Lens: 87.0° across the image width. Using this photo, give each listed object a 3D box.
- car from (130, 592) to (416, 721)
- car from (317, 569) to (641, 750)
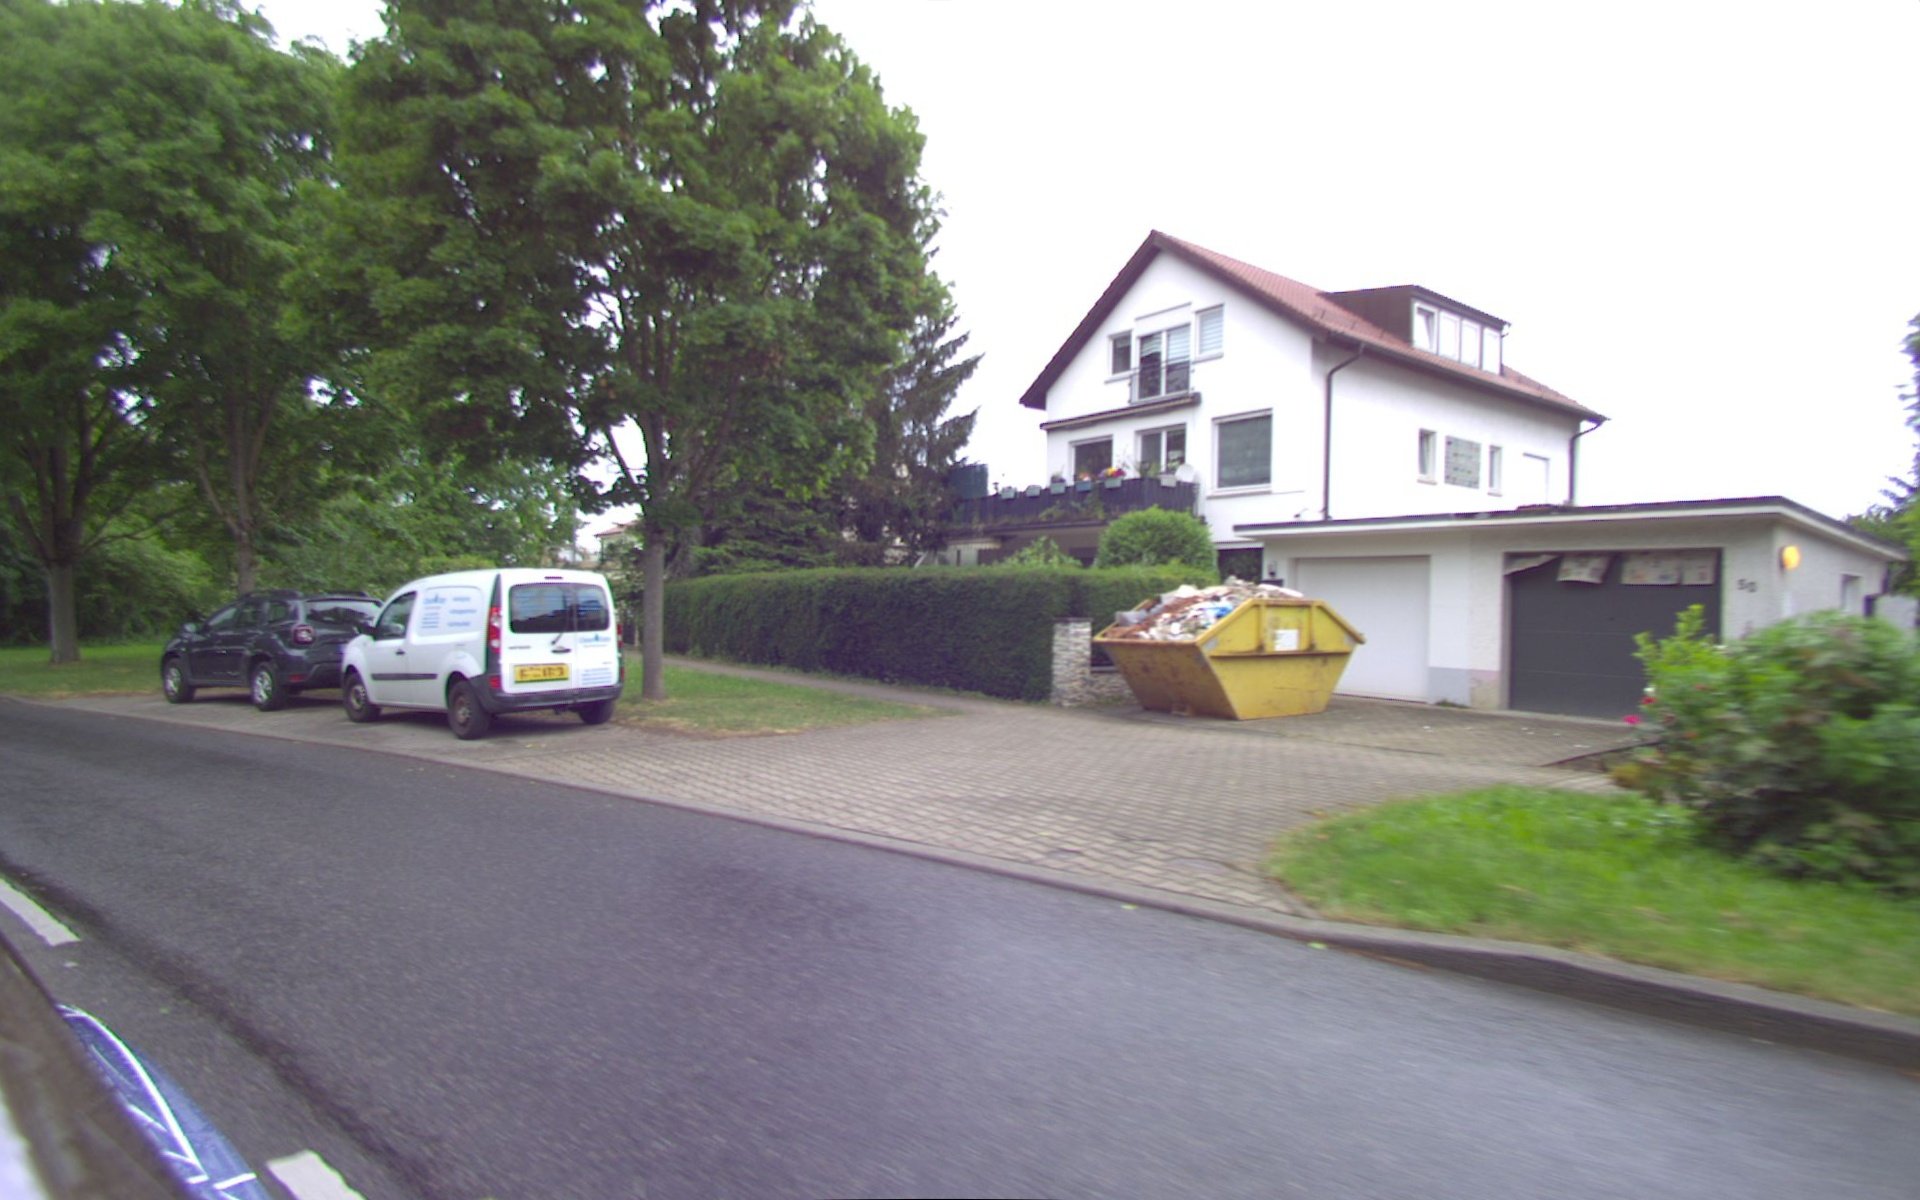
[{"bbox_3d":[-10.317,0.726,15.113,4.574,1.653,1.738,0,1,30],"label":"car"},{"bbox_3d":[-5.896,0.600,12.185,4.367,1.809,1.781,-1,0,38],"label":"car"}]
